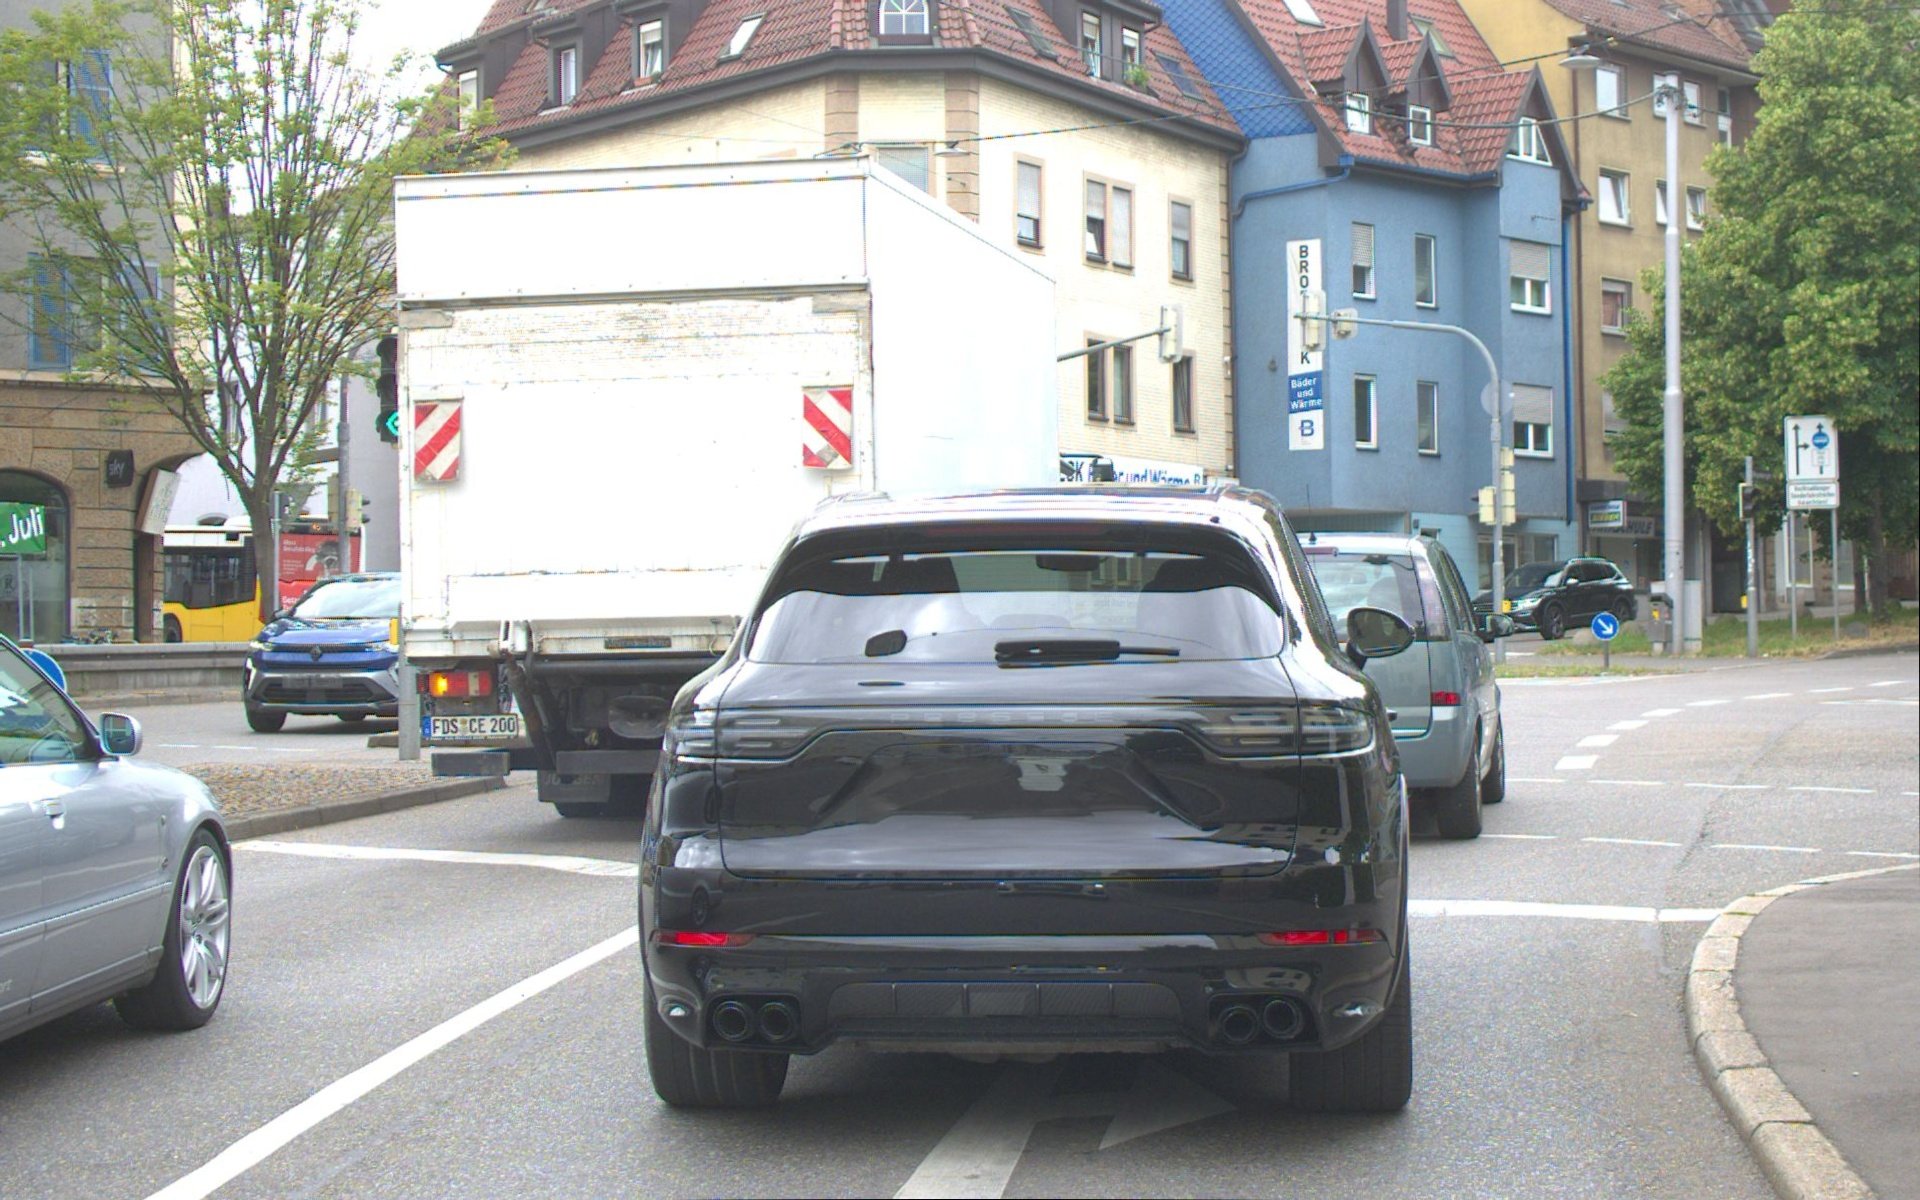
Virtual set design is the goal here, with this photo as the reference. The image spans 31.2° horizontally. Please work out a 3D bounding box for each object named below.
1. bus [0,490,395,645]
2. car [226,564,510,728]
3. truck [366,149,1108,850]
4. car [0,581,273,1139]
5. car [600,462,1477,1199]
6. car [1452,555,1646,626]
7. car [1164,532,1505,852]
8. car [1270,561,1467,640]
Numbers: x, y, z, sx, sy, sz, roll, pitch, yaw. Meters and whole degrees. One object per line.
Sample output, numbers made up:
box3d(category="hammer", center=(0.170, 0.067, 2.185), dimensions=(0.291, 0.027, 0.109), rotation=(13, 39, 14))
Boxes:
box3d(category="bus", center=(-16.925, -0.670, 73.625), dimensions=(3.159, 3.085, 12.144), rotation=(0, 0, -44))
box3d(category="car", center=(-5.838, 0.417, 34.356), dimensions=(1.787, 1.526, 4.035), rotation=(0, 1, 5))
box3d(category="truck", center=(-0.985, -0.572, 21.689), dimensions=(2.726, 3.532, 8.418), rotation=(1, 1, 10))
box3d(category="car", center=(-3.182, 0.651, 9.007), dimensions=(1.629, 1.360, 4.128), rotation=(1, 1, 5))
box3d(category="car", center=(0.192, 0.503, 10.298), dimensions=(2.031, 1.717, 4.500), rotation=(1, 1, 0))
box3d(category="car", center=(12.397, -0.176, 72.140), dimensions=(1.874, 1.411, 4.687), rotation=(-1, -1, 40))
box3d(category="car", center=(2.107, 0.444, 18.691), dimensions=(1.649, 1.550, 3.581), rotation=(1, 0, 9))
box3d(category="car", center=(7.994, 0.002, 66.952), dimensions=(1.720, 1.471, 4.208), rotation=(-2, -1, 41))
